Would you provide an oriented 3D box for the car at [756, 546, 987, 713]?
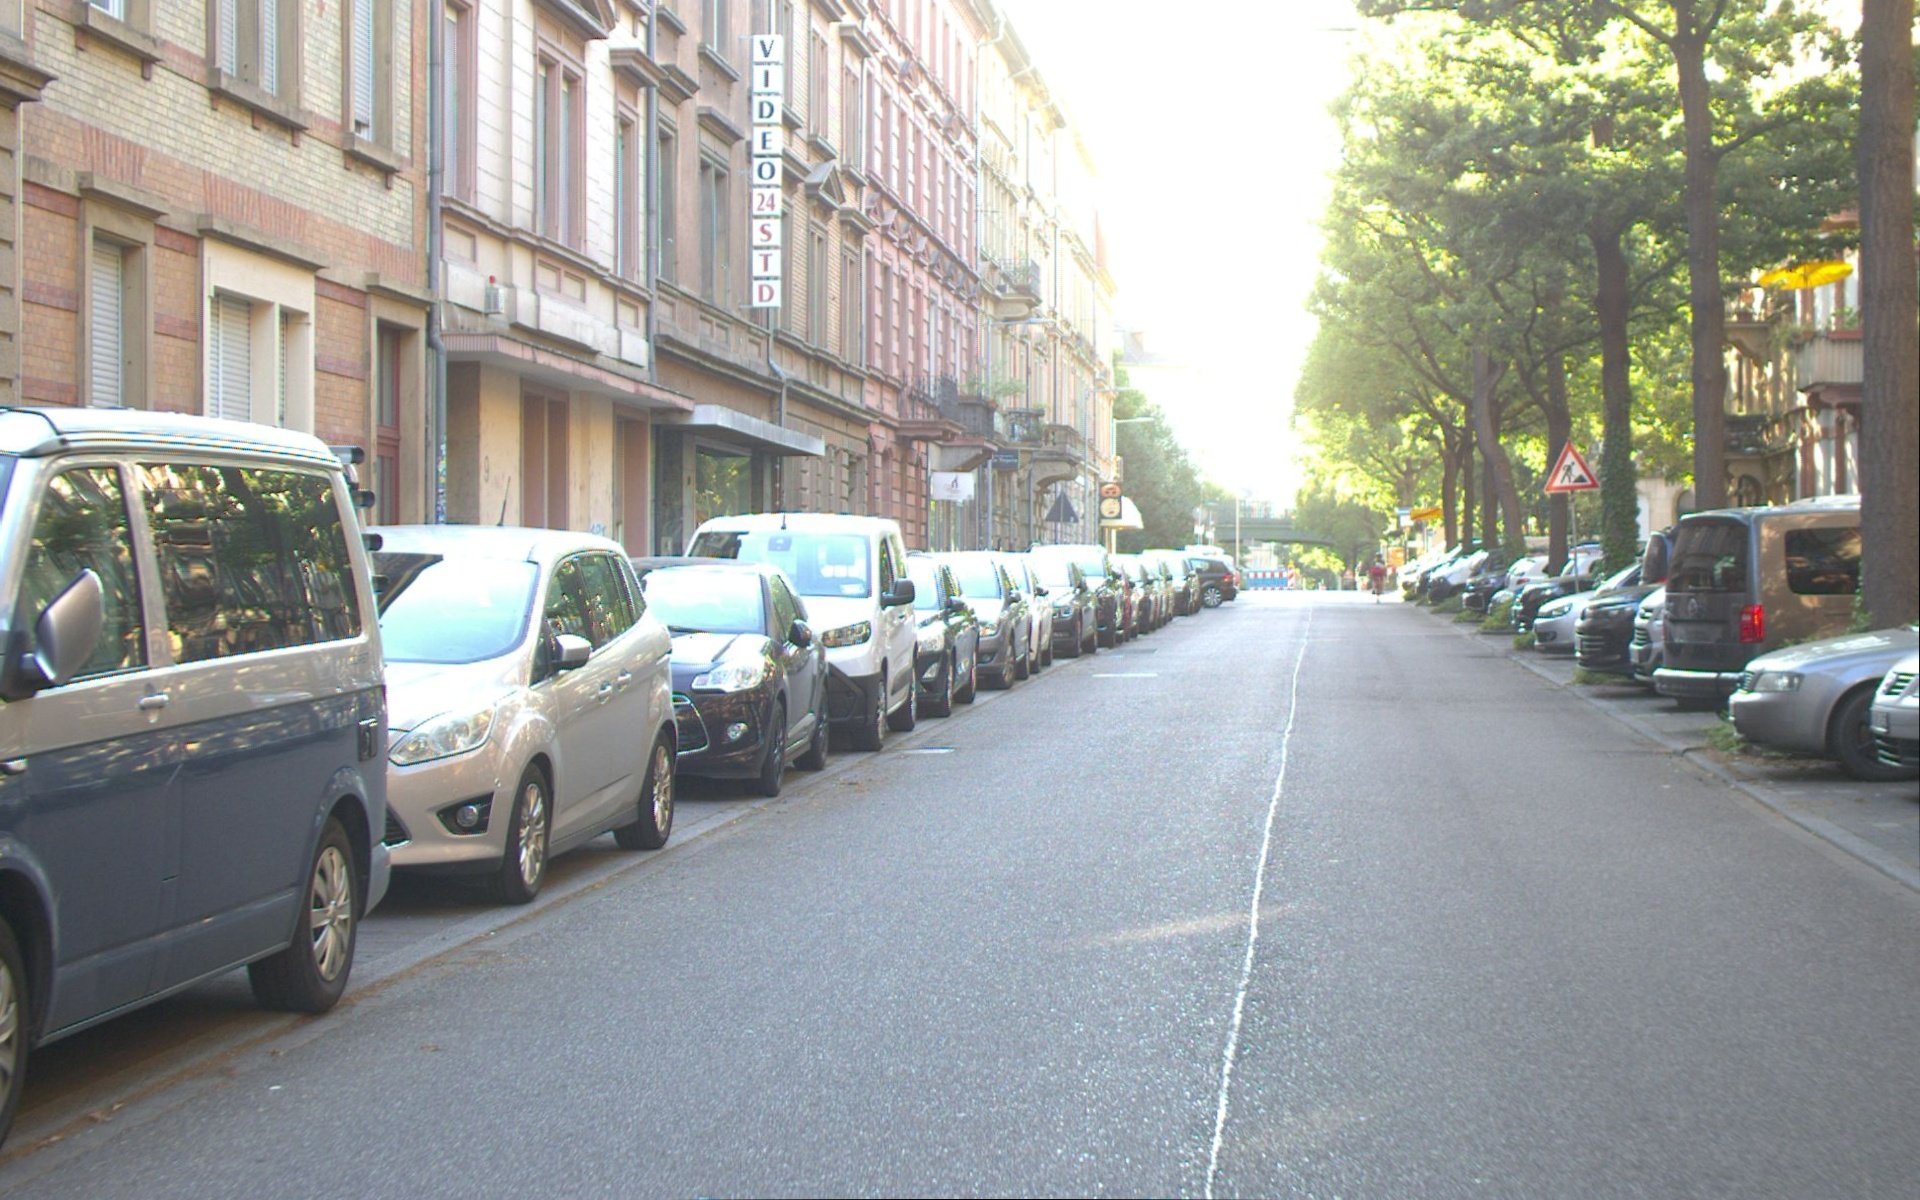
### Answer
[{"bbox_3d":[-0.777,0.233,32.667,1.759,1.468,4.059,0,1,5],"label":"car"}]

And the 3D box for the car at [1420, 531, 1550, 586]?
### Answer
[{"bbox_3d":[16.196,-1.290,106.200,3.851,1.568,1.718,-2,1,6],"label":"car"}]

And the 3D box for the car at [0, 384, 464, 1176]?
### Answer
[{"bbox_3d":[-3.054,0.393,10.253,1.832,1.936,5.259,2,1,6],"label":"car"}]

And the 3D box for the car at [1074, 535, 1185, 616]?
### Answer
[{"bbox_3d":[3.337,-0.450,66.914,1.994,1.481,3.999,0,-1,5],"label":"car"}]

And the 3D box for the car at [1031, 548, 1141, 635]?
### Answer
[{"bbox_3d":[2.263,-0.181,60.976,1.759,1.468,4.059,0,1,5],"label":"car"}]

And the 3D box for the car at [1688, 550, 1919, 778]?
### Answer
[{"bbox_3d":[7.129,0.348,22.756,4.221,1.398,1.835,-2,1,2],"label":"car"}]

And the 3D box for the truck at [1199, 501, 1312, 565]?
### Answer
[{"bbox_3d":[19.395,-4.369,225.454,7.222,3.936,2.437,1,1,-30],"label":"truck"}]

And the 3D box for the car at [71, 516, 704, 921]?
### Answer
[{"bbox_3d":[-2.523,0.449,16.281,1.754,1.603,4.383,2,1,7],"label":"car"}]

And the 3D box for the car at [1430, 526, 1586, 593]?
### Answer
[{"bbox_3d":[14.164,-1.050,89.015,3.851,1.568,1.718,-2,1,6],"label":"car"}]

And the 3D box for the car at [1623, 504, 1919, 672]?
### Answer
[{"bbox_3d":[9.728,-0.161,39.610,3.850,1.791,1.718,-2,1,3],"label":"car"}]

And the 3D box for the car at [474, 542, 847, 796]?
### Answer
[{"bbox_3d":[-1.862,0.377,22.581,1.759,1.462,3.999,2,1,5],"label":"car"}]

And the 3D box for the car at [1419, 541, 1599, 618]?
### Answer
[{"bbox_3d":[12.251,-0.461,76.900,3.851,1.568,1.717,-2,1,7],"label":"car"}]

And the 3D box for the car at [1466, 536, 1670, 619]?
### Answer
[{"bbox_3d":[12.594,-0.471,71.344,3.850,1.568,1.718,-2,1,-2],"label":"car"}]

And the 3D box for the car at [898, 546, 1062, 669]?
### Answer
[{"bbox_3d":[0.300,0.056,43.582,1.759,1.468,4.059,0,1,5],"label":"car"}]

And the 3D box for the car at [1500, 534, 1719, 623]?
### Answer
[{"bbox_3d":[12.574,-0.417,66.673,3.850,1.568,1.718,-2,1,-2],"label":"car"}]

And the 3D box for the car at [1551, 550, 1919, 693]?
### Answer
[{"bbox_3d":[8.078,0.200,34.958,3.850,1.289,1.718,-2,1,3],"label":"car"}]

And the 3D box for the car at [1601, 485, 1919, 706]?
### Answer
[{"bbox_3d":[8.640,-0.091,32.013,5.058,1.919,1.835,-2,1,6],"label":"car"}]

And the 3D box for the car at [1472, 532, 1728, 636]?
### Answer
[{"bbox_3d":[10.600,-0.280,57.096,3.850,1.568,1.718,-2,1,-2],"label":"car"}]

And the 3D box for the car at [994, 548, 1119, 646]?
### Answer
[{"bbox_3d":[1.566,-0.075,54.523,1.759,1.468,4.059,0,1,5],"label":"car"}]

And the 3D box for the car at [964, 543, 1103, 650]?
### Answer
[{"bbox_3d":[1.103,-0.076,49.781,1.759,1.468,4.059,0,1,5],"label":"car"}]

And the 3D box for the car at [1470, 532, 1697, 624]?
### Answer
[{"bbox_3d":[11.644,-0.416,64.358,3.850,1.568,1.718,-2,1,-2],"label":"car"}]

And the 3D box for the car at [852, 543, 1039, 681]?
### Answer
[{"bbox_3d":[-0.113,0.096,38.730,1.759,1.468,4.059,0,1,5],"label":"car"}]

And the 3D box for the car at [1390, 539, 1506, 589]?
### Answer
[{"bbox_3d":[16.903,-1.256,119.200,3.851,1.568,1.718,-2,1,6],"label":"car"}]

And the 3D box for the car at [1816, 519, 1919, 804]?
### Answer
[{"bbox_3d":[7.434,0.263,20.330,4.220,1.605,1.835,-2,1,-1],"label":"car"}]

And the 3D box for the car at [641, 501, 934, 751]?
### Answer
[{"bbox_3d":[-1.291,0.159,27.640,1.759,1.835,4.529,0,1,5],"label":"car"}]

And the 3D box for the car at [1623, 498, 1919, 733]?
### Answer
[{"bbox_3d":[7.837,0.065,28.346,4.220,1.789,1.835,-2,1,-13],"label":"car"}]

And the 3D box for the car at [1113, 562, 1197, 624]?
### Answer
[{"bbox_3d":[4.960,-0.169,86.989,1.994,1.481,3.999,0,-1,5],"label":"car"}]

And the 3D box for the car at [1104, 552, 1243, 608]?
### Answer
[{"bbox_3d":[6.058,-0.537,97.261,1.998,1.481,3.991,-1,-1,39],"label":"car"}]

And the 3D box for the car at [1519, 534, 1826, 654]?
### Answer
[{"bbox_3d":[9.734,-0.092,47.176,3.850,1.474,1.718,-2,1,3],"label":"car"}]

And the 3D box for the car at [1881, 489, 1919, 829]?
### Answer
[{"bbox_3d":[7.073,0.239,17.649,4.221,1.770,1.835,-2,1,5],"label":"car"}]

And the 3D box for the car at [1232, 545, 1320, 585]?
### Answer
[{"bbox_3d":[15.215,-1.703,165.571,3.989,1.853,1.750,1,1,14],"label":"car"}]
